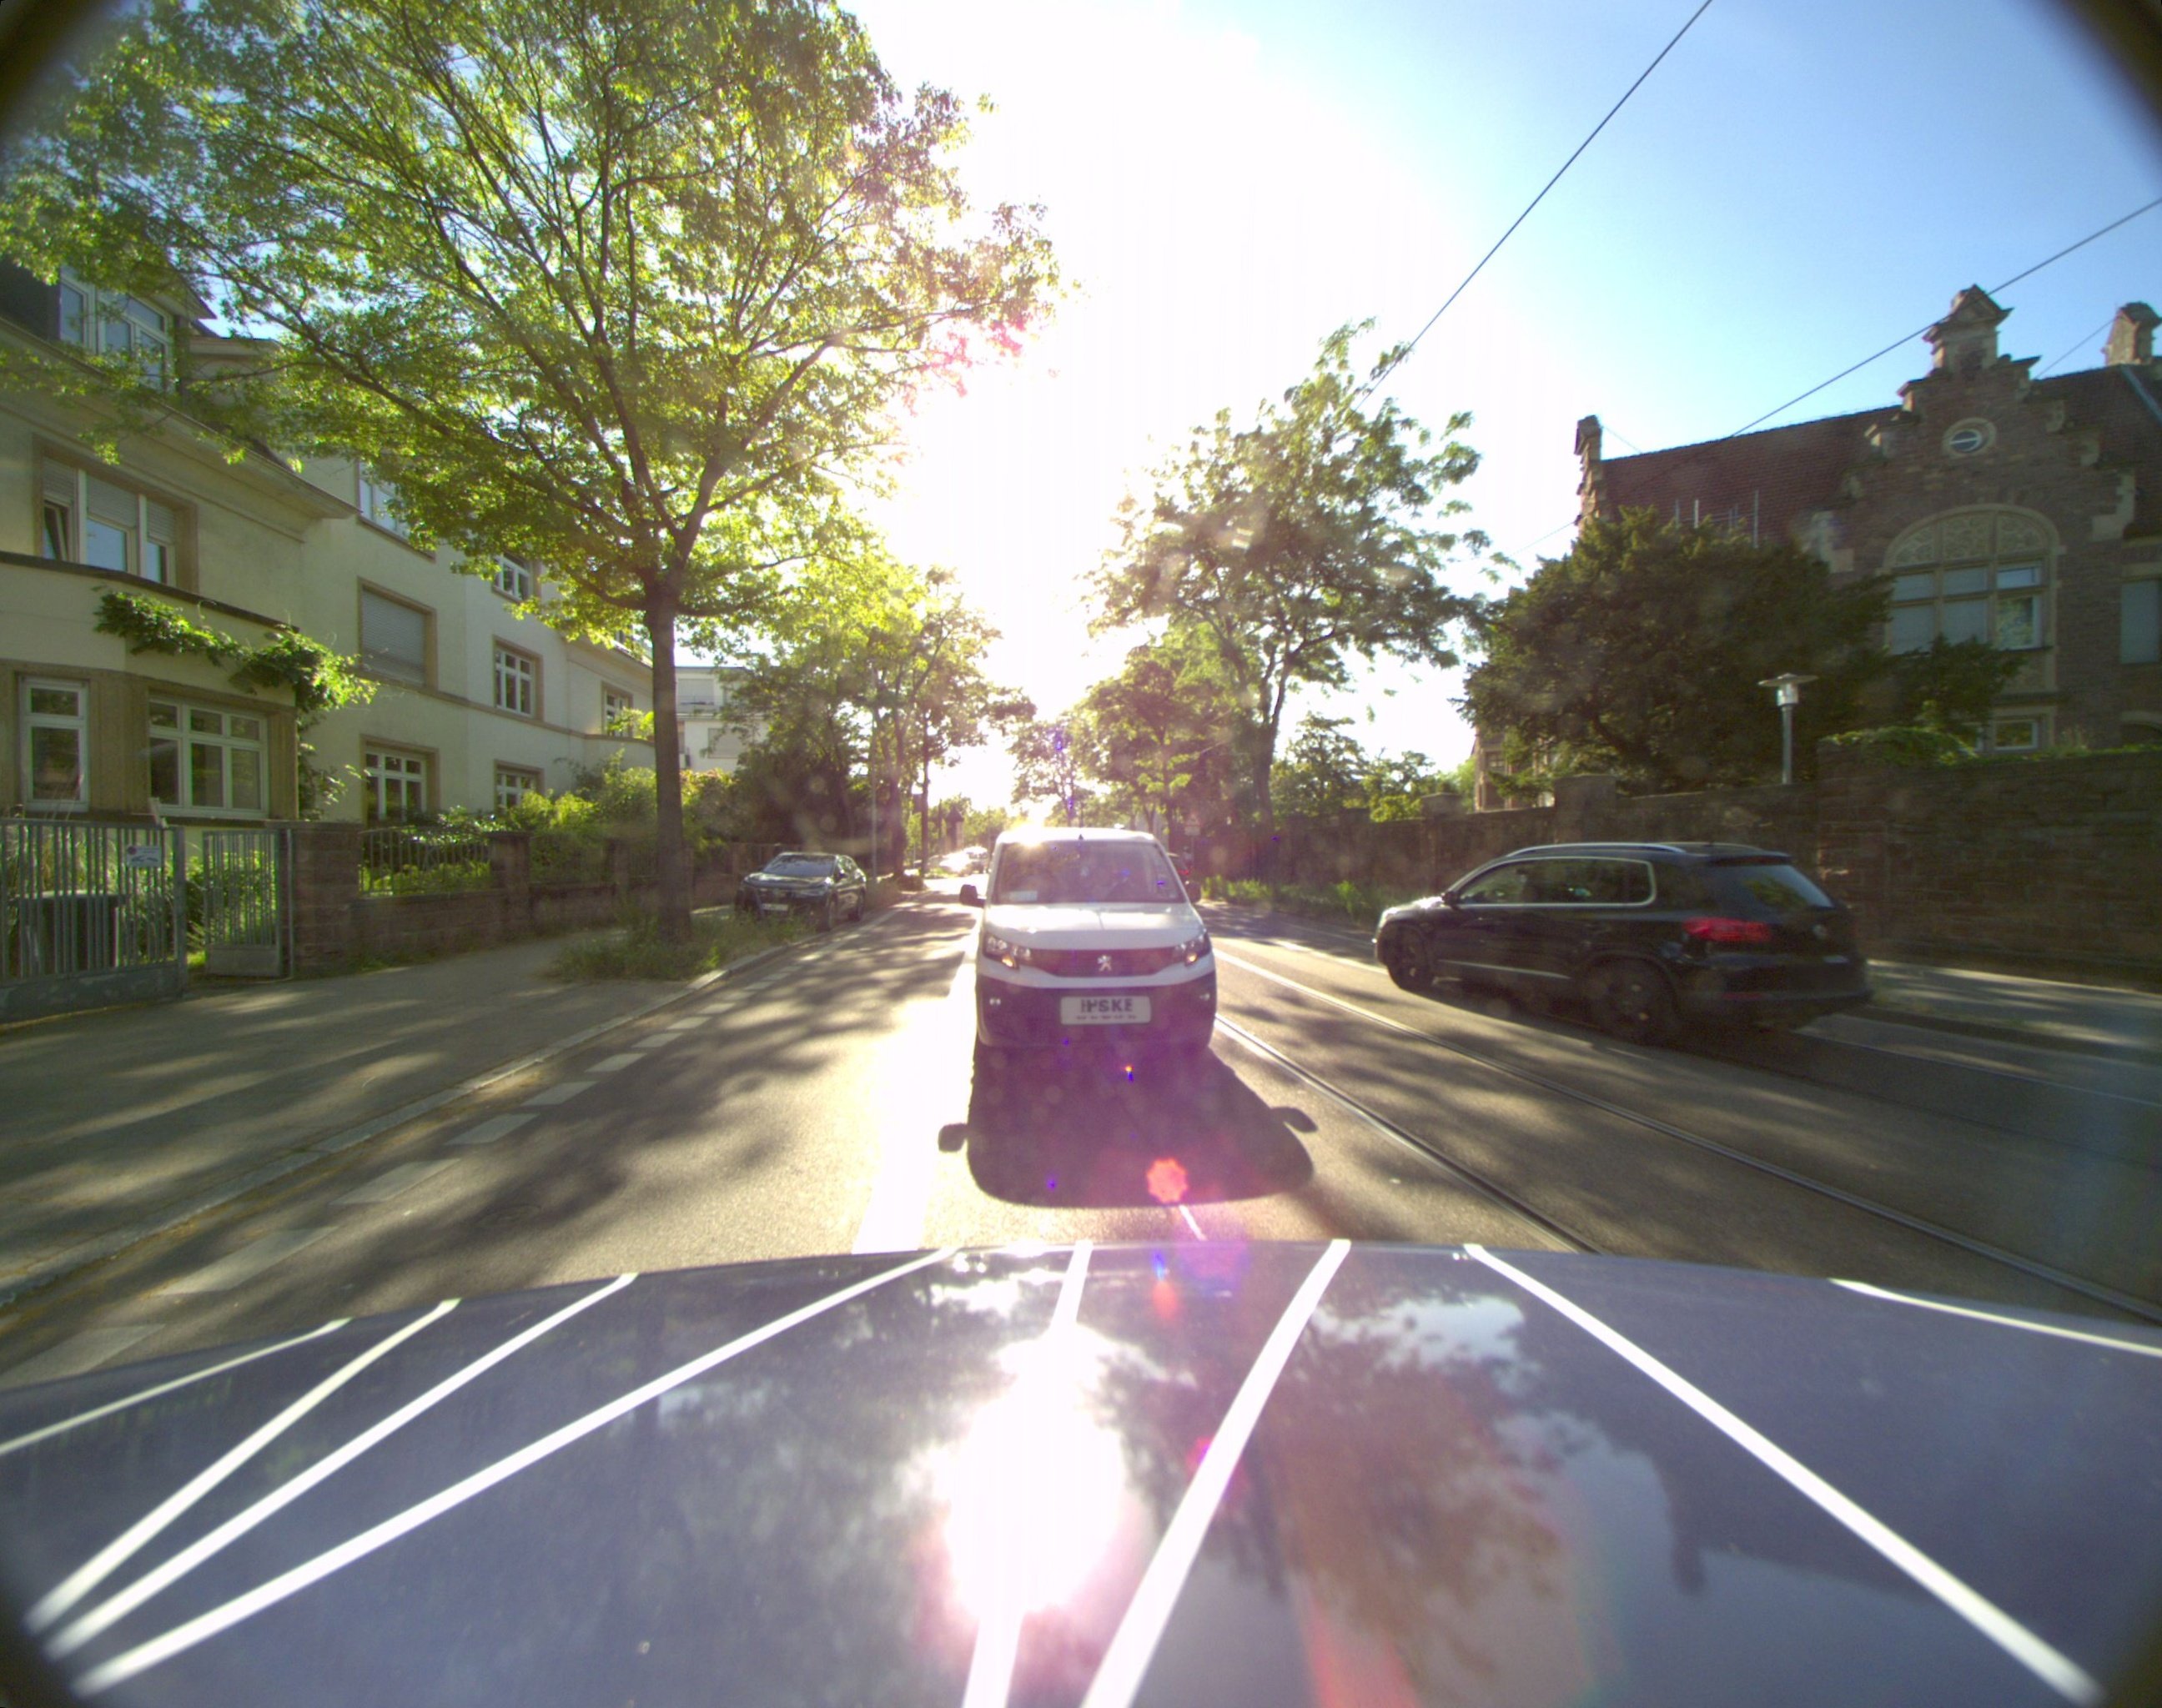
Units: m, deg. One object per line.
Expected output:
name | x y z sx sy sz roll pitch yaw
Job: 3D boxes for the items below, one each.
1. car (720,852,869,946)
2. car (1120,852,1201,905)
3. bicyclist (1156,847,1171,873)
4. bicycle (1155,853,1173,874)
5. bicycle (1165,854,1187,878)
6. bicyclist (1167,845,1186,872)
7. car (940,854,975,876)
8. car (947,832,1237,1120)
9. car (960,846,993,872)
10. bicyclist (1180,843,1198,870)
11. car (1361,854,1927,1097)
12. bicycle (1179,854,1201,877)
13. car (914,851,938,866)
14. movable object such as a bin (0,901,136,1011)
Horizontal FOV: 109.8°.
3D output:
car | -6.121 0.863 16.818 1.999 1.733 4.168 -1 1 -5
car | 2.607 0.847 25.839 1.927 1.606 4.117 -2 -2 -5
bicyclist | 4.909 0.352 45.205 0.744 1.526 0.751 -1 1 -3
bicycle | 4.912 0.541 45.212 0.747 1.184 2.087 -1 1 -3
bicycle | 5.049 0.630 40.452 0.774 1.184 2.102 -1 1 -3
bicyclist | 5.043 0.210 40.371 0.768 1.383 1.272 -1 1 -3
car | -8.186 0.709 50.608 1.720 1.332 3.916 -1 1 -1
car | -0.089 0.736 6.987 1.833 1.788 4.331 -1 1 -5
car | -7.803 0.358 57.010 1.904 1.819 4.247 -1 1 -1
bicyclist | 5.806 0.131 40.774 0.734 1.383 1.060 -1 1 -3
car | 4.833 0.825 7.366 1.803 1.628 4.112 0 0 -18
bicycle | 5.823 0.595 40.747 0.733 1.184 2.087 -1 1 -3
car | -15.408 0.414 75.631 1.741 1.434 3.998 -1 1 -3
movable object such as a bin | -10.989 1.065 8.180 0.965 1.049 0.728 -1 1 21
